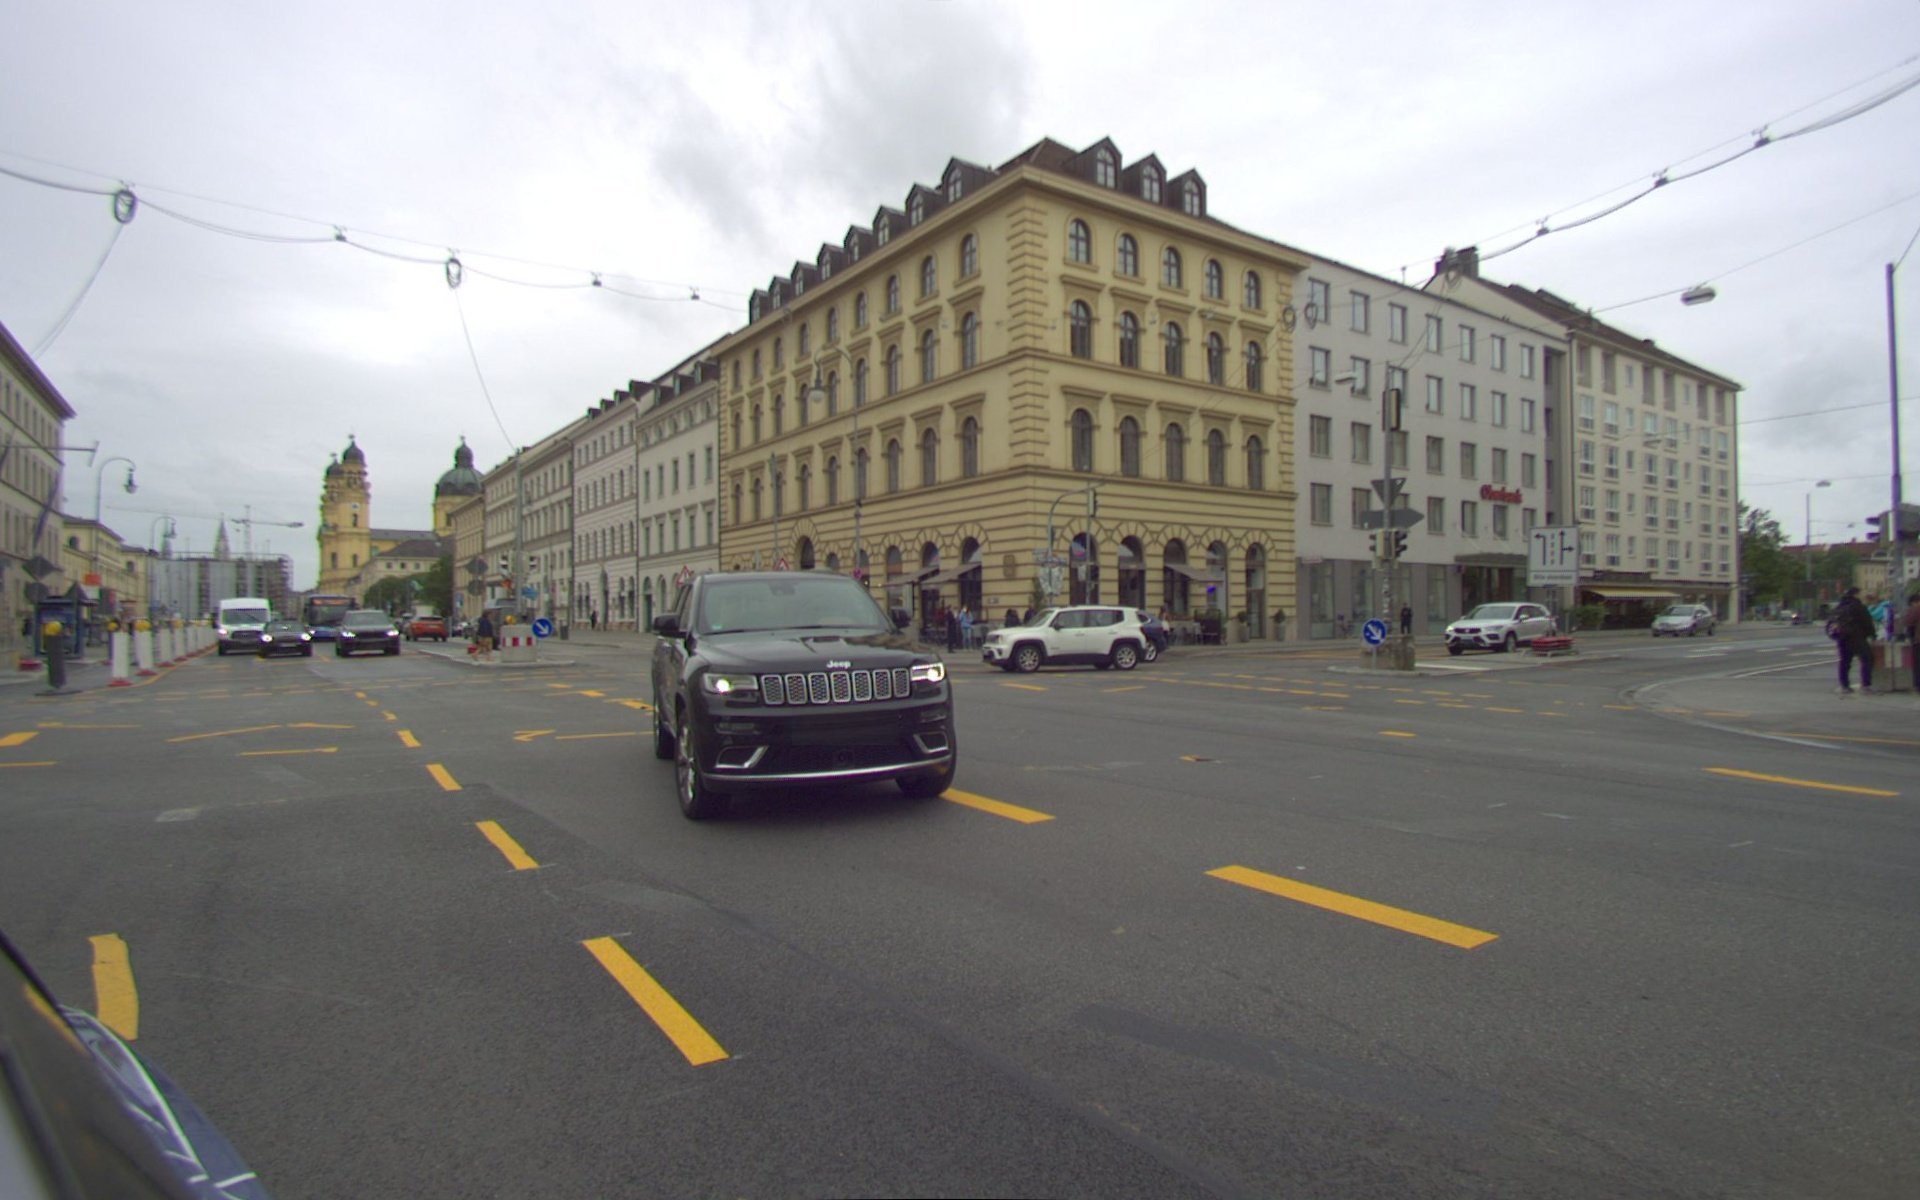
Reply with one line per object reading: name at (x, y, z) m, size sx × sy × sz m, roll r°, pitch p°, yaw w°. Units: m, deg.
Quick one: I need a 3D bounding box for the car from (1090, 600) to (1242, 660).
car at (6.281, 0.888, 30.948) m, size 4.162 × 1.690 × 1.744 m, roll -1°, pitch -1°, yaw -13°

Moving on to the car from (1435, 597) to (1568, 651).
car at (16.730, 0.704, 31.229) m, size 4.163 × 1.535 × 2.005 m, roll 0°, pitch -1°, yaw -36°

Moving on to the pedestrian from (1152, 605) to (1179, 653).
pedestrian at (7.846, 1.091, 38.614) m, size 0.723 × 1.785 × 0.741 m, roll 0°, pitch 0°, yaw -17°

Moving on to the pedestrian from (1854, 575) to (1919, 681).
pedestrian at (15.900, 0.465, 17.280) m, size 0.815 × 1.769 × 0.581 m, roll 0°, pitch 0°, yaw 24°

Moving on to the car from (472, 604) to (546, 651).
car at (-20.826, 1.238, 46.616) m, size 2.208 × 2.029 × 4.460 m, roll 0°, pitch -1°, yaw -36°

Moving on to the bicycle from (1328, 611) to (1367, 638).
bicycle at (18.620, 1.177, 48.660) m, size 2.162 × 1.252 × 0.602 m, roll 0°, pitch 0°, yaw -34°

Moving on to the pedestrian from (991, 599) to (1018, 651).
pedestrian at (1.557, 0.854, 35.167) m, size 0.748 × 1.785 × 0.738 m, roll 0°, pitch 0°, yaw -15°

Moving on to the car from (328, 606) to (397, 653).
car at (-23.280, 1.129, 39.348) m, size 1.967 × 1.696 × 4.010 m, roll 0°, pitch -1°, yaw -35°

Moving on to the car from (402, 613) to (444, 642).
car at (-33.304, 1.693, 62.665) m, size 1.793 × 1.733 × 4.010 m, roll 0°, pitch -1°, yaw -35°

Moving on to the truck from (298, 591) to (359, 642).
truck at (-40.521, 0.991, 64.843) m, size 2.942 × 3.036 × 7.162 m, roll 0°, pitch 0°, yaw -35°

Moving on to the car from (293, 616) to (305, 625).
car at (-137.121, 4.304, 209.923) m, size 1.837 × 1.812 × 3.762 m, roll 0°, pitch -1°, yaw -35°

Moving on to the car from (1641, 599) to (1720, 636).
car at (36.037, 0.862, 50.587) m, size 4.163 × 1.748 × 2.005 m, roll 0°, pitch -1°, yaw -36°

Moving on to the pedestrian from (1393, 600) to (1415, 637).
pedestrian at (21.902, 0.894, 49.889) m, size 0.724 × 1.785 × 0.741 m, roll 0°, pitch 0°, yaw -36°

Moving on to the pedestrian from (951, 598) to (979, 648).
pedestrian at (0.180, 0.822, 36.942) m, size 0.736 × 1.785 × 0.728 m, roll 0°, pitch 0°, yaw 44°

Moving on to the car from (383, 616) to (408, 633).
car at (-57.911, 2.507, 103.860) m, size 1.793 × 1.733 × 4.010 m, roll 0°, pitch -1°, yaw -35°

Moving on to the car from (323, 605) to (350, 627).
car at (-54.901, 1.418, 89.131) m, size 1.837 × 1.812 × 3.762 m, roll 0°, pitch -1°, yaw -35°

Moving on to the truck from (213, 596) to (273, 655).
truck at (-32.360, 1.134, 45.592) m, size 2.082 × 2.499 × 5.872 m, roll 0°, pitch -1°, yaw -36°

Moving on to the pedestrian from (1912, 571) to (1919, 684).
pedestrian at (15.537, 0.431, 15.787) m, size 0.807 × 1.769 × 0.586 m, roll 0°, pitch 0°, yaw -4°

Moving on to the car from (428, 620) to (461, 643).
car at (-41.439, 2.521, 81.248) m, size 1.793 × 1.733 × 4.010 m, roll 0°, pitch -1°, yaw -35°

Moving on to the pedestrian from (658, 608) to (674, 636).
pedestrian at (-18.852, 1.411, 64.909) m, size 0.727 × 1.785 × 0.738 m, roll 0°, pitch -1°, yaw -36°

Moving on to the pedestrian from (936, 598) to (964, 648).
pedestrian at (-0.357, 0.810, 36.419) m, size 0.736 × 1.785 × 0.728 m, roll 0°, pitch 0°, yaw 44°

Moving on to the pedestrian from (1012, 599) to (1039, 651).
pedestrian at (2.291, 0.870, 35.431) m, size 0.727 × 1.785 × 0.738 m, roll 0°, pitch 0°, yaw -15°

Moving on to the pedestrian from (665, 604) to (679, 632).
pedestrian at (-18.951, 1.190, 66.601) m, size 0.727 × 1.785 × 0.738 m, roll 0°, pitch -1°, yaw -36°

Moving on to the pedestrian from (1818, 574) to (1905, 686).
pedestrian at (14.653, 0.467, 16.464) m, size 0.668 × 1.769 × 0.822 m, roll 0°, pitch 0°, yaw -19°

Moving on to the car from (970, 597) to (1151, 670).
car at (2.501, 0.806, 25.538) m, size 4.163 × 1.690 × 1.803 m, roll -1°, pitch -1°, yaw -12°

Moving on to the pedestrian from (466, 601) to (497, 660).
pedestrian at (-14.804, 0.932, 31.295) m, size 0.724 × 1.785 × 0.741 m, roll 0°, pitch 0°, yaw -36°

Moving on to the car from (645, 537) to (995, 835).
car at (-1.488, 0.539, 8.439) m, size 1.966 × 1.748 × 4.600 m, roll -1°, pitch -1°, yaw -20°

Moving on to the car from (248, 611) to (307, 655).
car at (-27.262, 1.276, 40.393) m, size 1.772 × 1.606 × 4.009 m, roll 0°, pitch 0°, yaw -37°

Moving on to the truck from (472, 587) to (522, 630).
truck at (-30.617, 0.590, 66.874) m, size 2.185 × 2.683 × 4.795 m, roll 0°, pitch -1°, yaw -35°
